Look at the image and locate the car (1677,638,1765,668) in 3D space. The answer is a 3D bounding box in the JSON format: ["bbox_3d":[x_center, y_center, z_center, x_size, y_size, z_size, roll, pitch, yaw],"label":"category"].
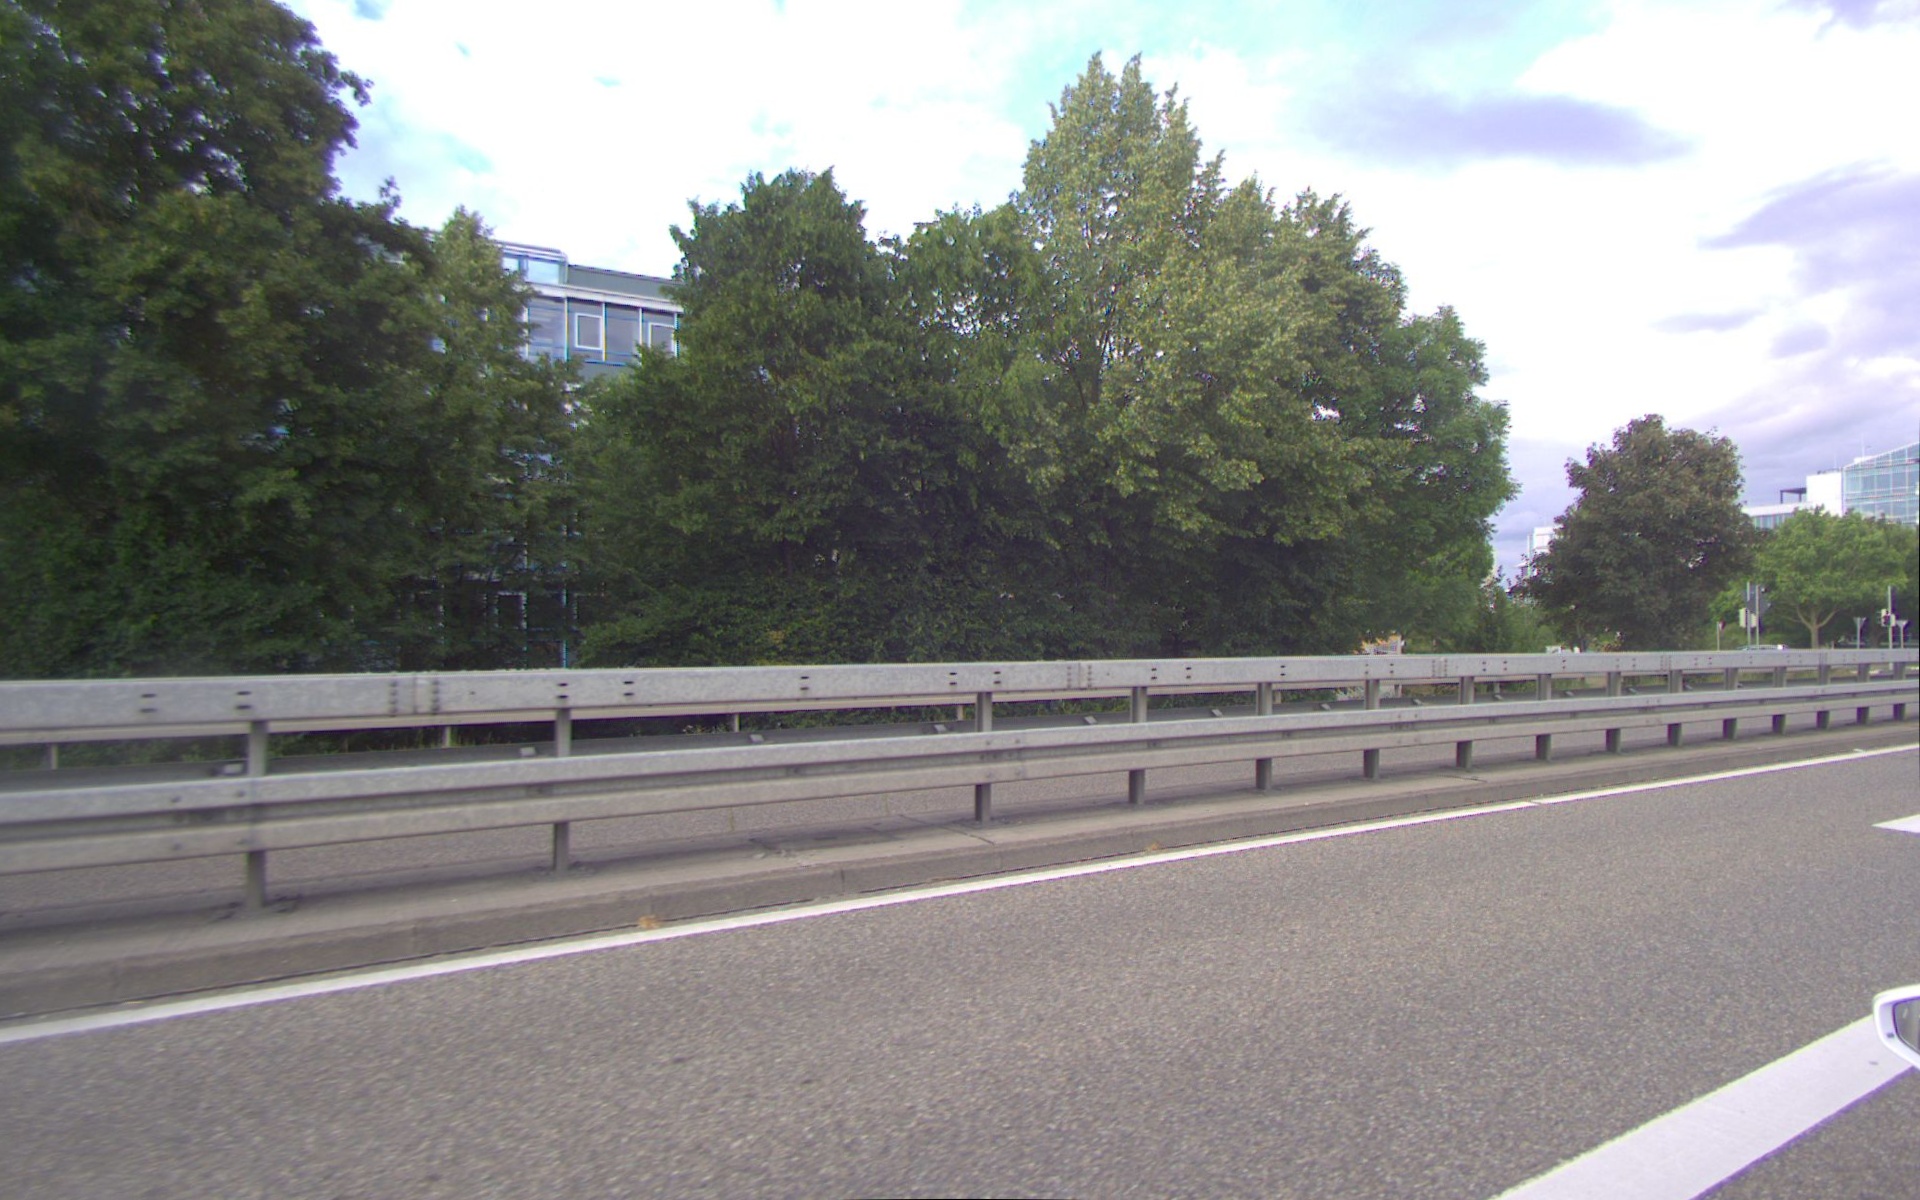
[{"bbox_3d":[42.297,2.920,55.880,1.721,1.560,3.676,1,-1,-42],"label":"car"}]
